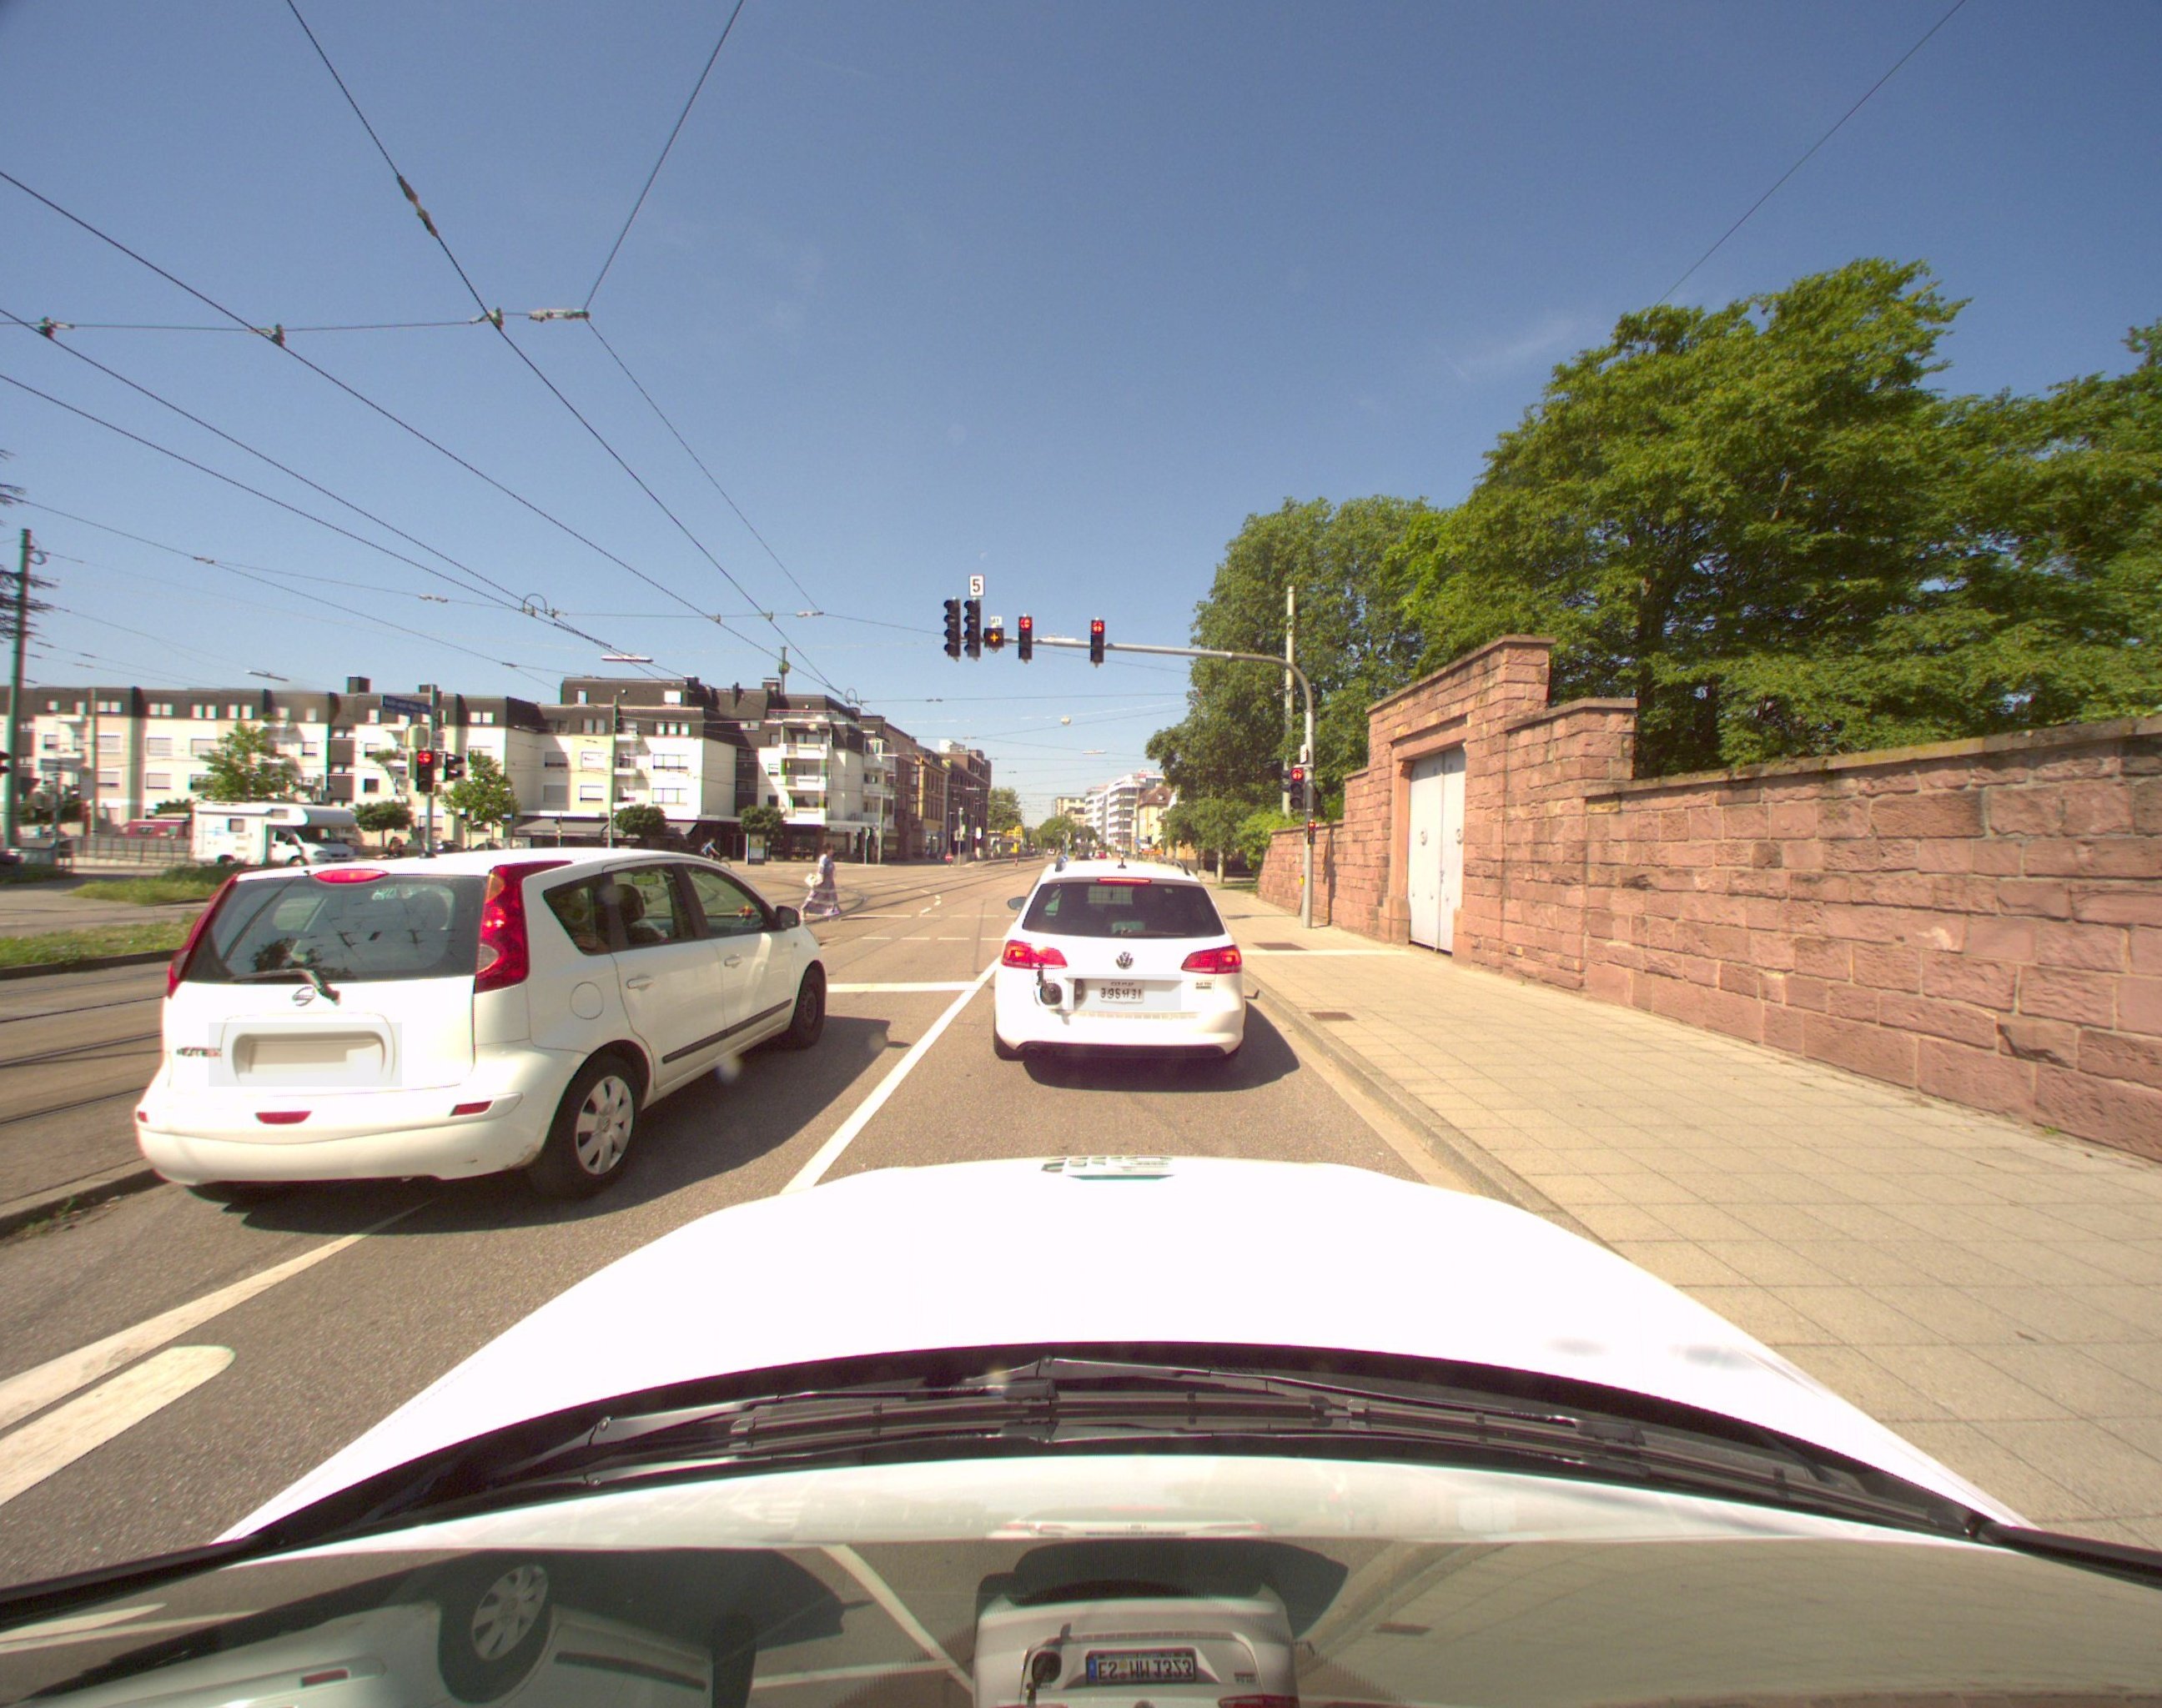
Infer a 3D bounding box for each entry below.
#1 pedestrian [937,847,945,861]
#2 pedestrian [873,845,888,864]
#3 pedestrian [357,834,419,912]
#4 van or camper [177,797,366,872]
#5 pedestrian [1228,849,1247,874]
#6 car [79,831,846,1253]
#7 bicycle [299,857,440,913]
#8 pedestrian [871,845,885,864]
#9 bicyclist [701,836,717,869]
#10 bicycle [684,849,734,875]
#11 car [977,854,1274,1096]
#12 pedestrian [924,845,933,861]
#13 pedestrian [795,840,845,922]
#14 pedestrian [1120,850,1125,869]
[{"bbox_3d":[-17.072,-0.022,99.104,0.860,1.743,0.973,-1,-1,-4],"label":"pedestrian"},{"bbox_3d":[-18.189,0.062,73.905,0.980,1.743,0.854,0,-1,-39],"label":"pedestrian"},{"bbox_3d":[-14.446,0.379,16.992,0.746,1.571,0.672,0,0,-13],"label":"pedestrian"},{"bbox_3d":[-35.183,-0.814,35.549,5.664,3.093,2.575,-1,-1,0],"label":"van or camper"},{"bbox_3d":[10.980,0.541,57.189,0.865,1.743,0.967,0,-1,-23],"label":"pedestrian"},{"bbox_3d":[-2.858,0.675,4.939,1.636,1.566,3.805,-1,1,2],"label":"car"},{"bbox_3d":[-14.351,0.616,16.480,2.021,1.090,0.707,1,0,-13],"label":"bicycle"},{"bbox_3d":[-18.857,0.065,75.735,0.854,1.743,0.980,-1,-1,20],"label":"pedestrian"},{"bbox_3d":[-18.544,-0.067,40.578,0.640,1.612,0.557,0,-1,-31],"label":"bicyclist"},{"bbox_3d":[-18.522,0.397,40.575,2.257,1.297,0.554,0,-1,-31],"label":"bicycle"},{"bbox_3d":[0.328,0.732,6.962,1.801,1.448,4.001,0,0,1],"label":"car"},{"bbox_3d":[-17.398,-0.107,93.008,0.860,1.743,0.973,-1,-1,-4],"label":"pedestrian"},{"bbox_3d":[-5.431,0.541,16.980,0.974,1.651,0.950,0,-1,-18],"label":"pedestrian"},{"bbox_3d":[5.239,0.725,102.792,0.687,2.325,1.233,-1,-1,3],"label":"pedestrian"}]
